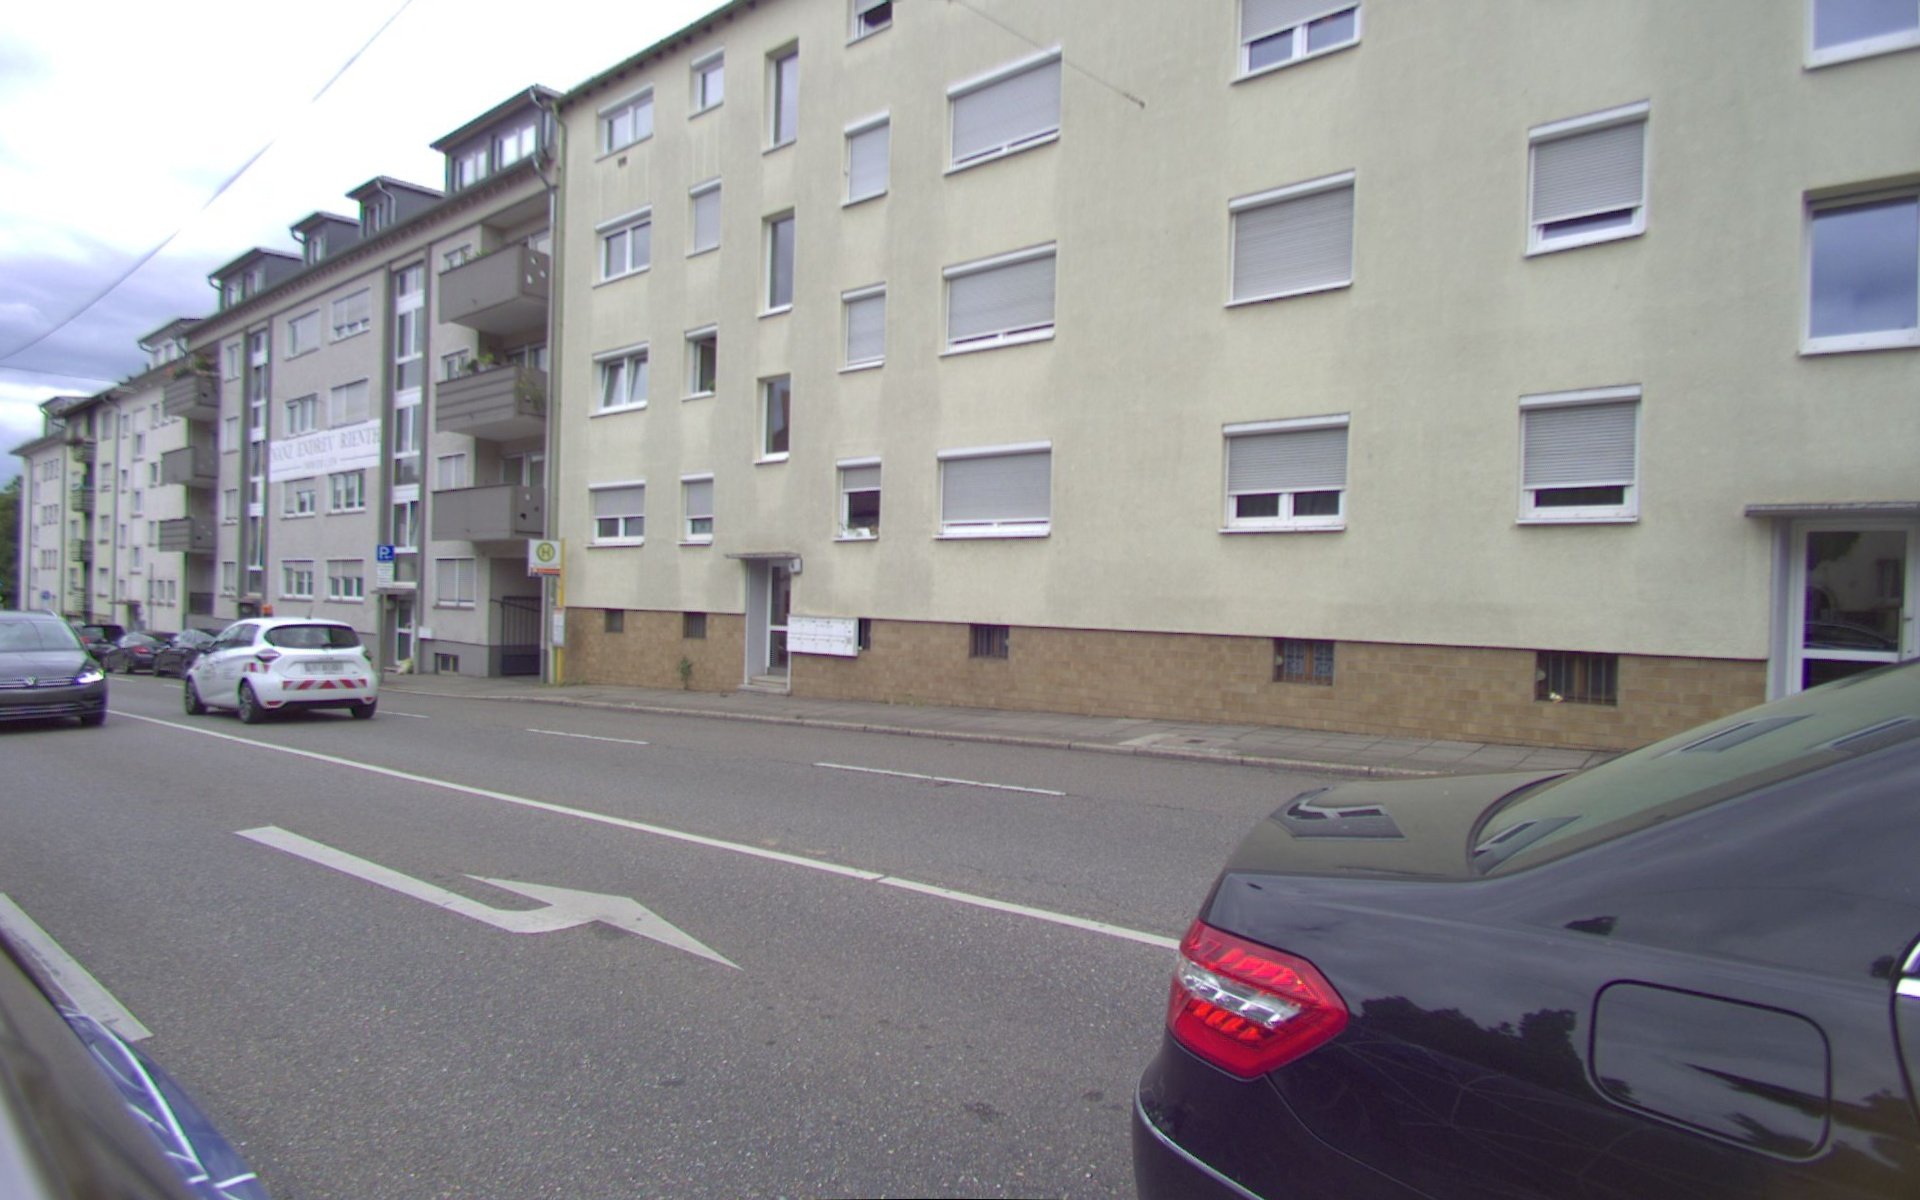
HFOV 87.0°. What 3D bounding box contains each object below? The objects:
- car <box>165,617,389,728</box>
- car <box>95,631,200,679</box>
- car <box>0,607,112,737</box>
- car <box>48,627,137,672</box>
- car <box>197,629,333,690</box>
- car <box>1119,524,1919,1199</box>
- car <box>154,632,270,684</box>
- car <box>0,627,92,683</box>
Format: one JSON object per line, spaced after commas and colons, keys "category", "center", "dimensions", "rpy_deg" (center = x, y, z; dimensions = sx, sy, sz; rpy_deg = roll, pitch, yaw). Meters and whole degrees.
{"category": "car", "center": [-10.784, 1.041, 15.886], "dimensions": [4.078, 1.533, 1.753], "rpy_deg": [-1, -2, 39]}
{"category": "car", "center": [-26.250, 1.744, 32.668], "dimensions": [3.533, 1.414, 1.755], "rpy_deg": [-1, -3, 36]}
{"category": "car", "center": [-13.721, 0.933, 14.279], "dimensions": [4.474, 1.623, 1.840], "rpy_deg": [-1, 0, 38]}
{"category": "car", "center": [-33.151, 1.861, 38.644], "dimensions": [3.533, 1.613, 1.755], "rpy_deg": [-1, -3, 36]}
{"category": "car", "center": [-18.056, 1.504, 26.253], "dimensions": [3.680, 1.422, 1.755], "rpy_deg": [-1, -3, 36]}
{"category": "car", "center": [2.704, 0.639, 0.704], "dimensions": [4.840, 1.440, 1.973], "rpy_deg": [-1, -2, 41]}
{"category": "car", "center": [-21.461, 1.633, 29.005], "dimensions": [3.533, 1.386, 1.649], "rpy_deg": [-1, -3, 36]}
{"category": "car", "center": [-26.383, 1.521, 28.984], "dimensions": [3.593, 1.494, 1.574], "rpy_deg": [-1, -2, 37]}
